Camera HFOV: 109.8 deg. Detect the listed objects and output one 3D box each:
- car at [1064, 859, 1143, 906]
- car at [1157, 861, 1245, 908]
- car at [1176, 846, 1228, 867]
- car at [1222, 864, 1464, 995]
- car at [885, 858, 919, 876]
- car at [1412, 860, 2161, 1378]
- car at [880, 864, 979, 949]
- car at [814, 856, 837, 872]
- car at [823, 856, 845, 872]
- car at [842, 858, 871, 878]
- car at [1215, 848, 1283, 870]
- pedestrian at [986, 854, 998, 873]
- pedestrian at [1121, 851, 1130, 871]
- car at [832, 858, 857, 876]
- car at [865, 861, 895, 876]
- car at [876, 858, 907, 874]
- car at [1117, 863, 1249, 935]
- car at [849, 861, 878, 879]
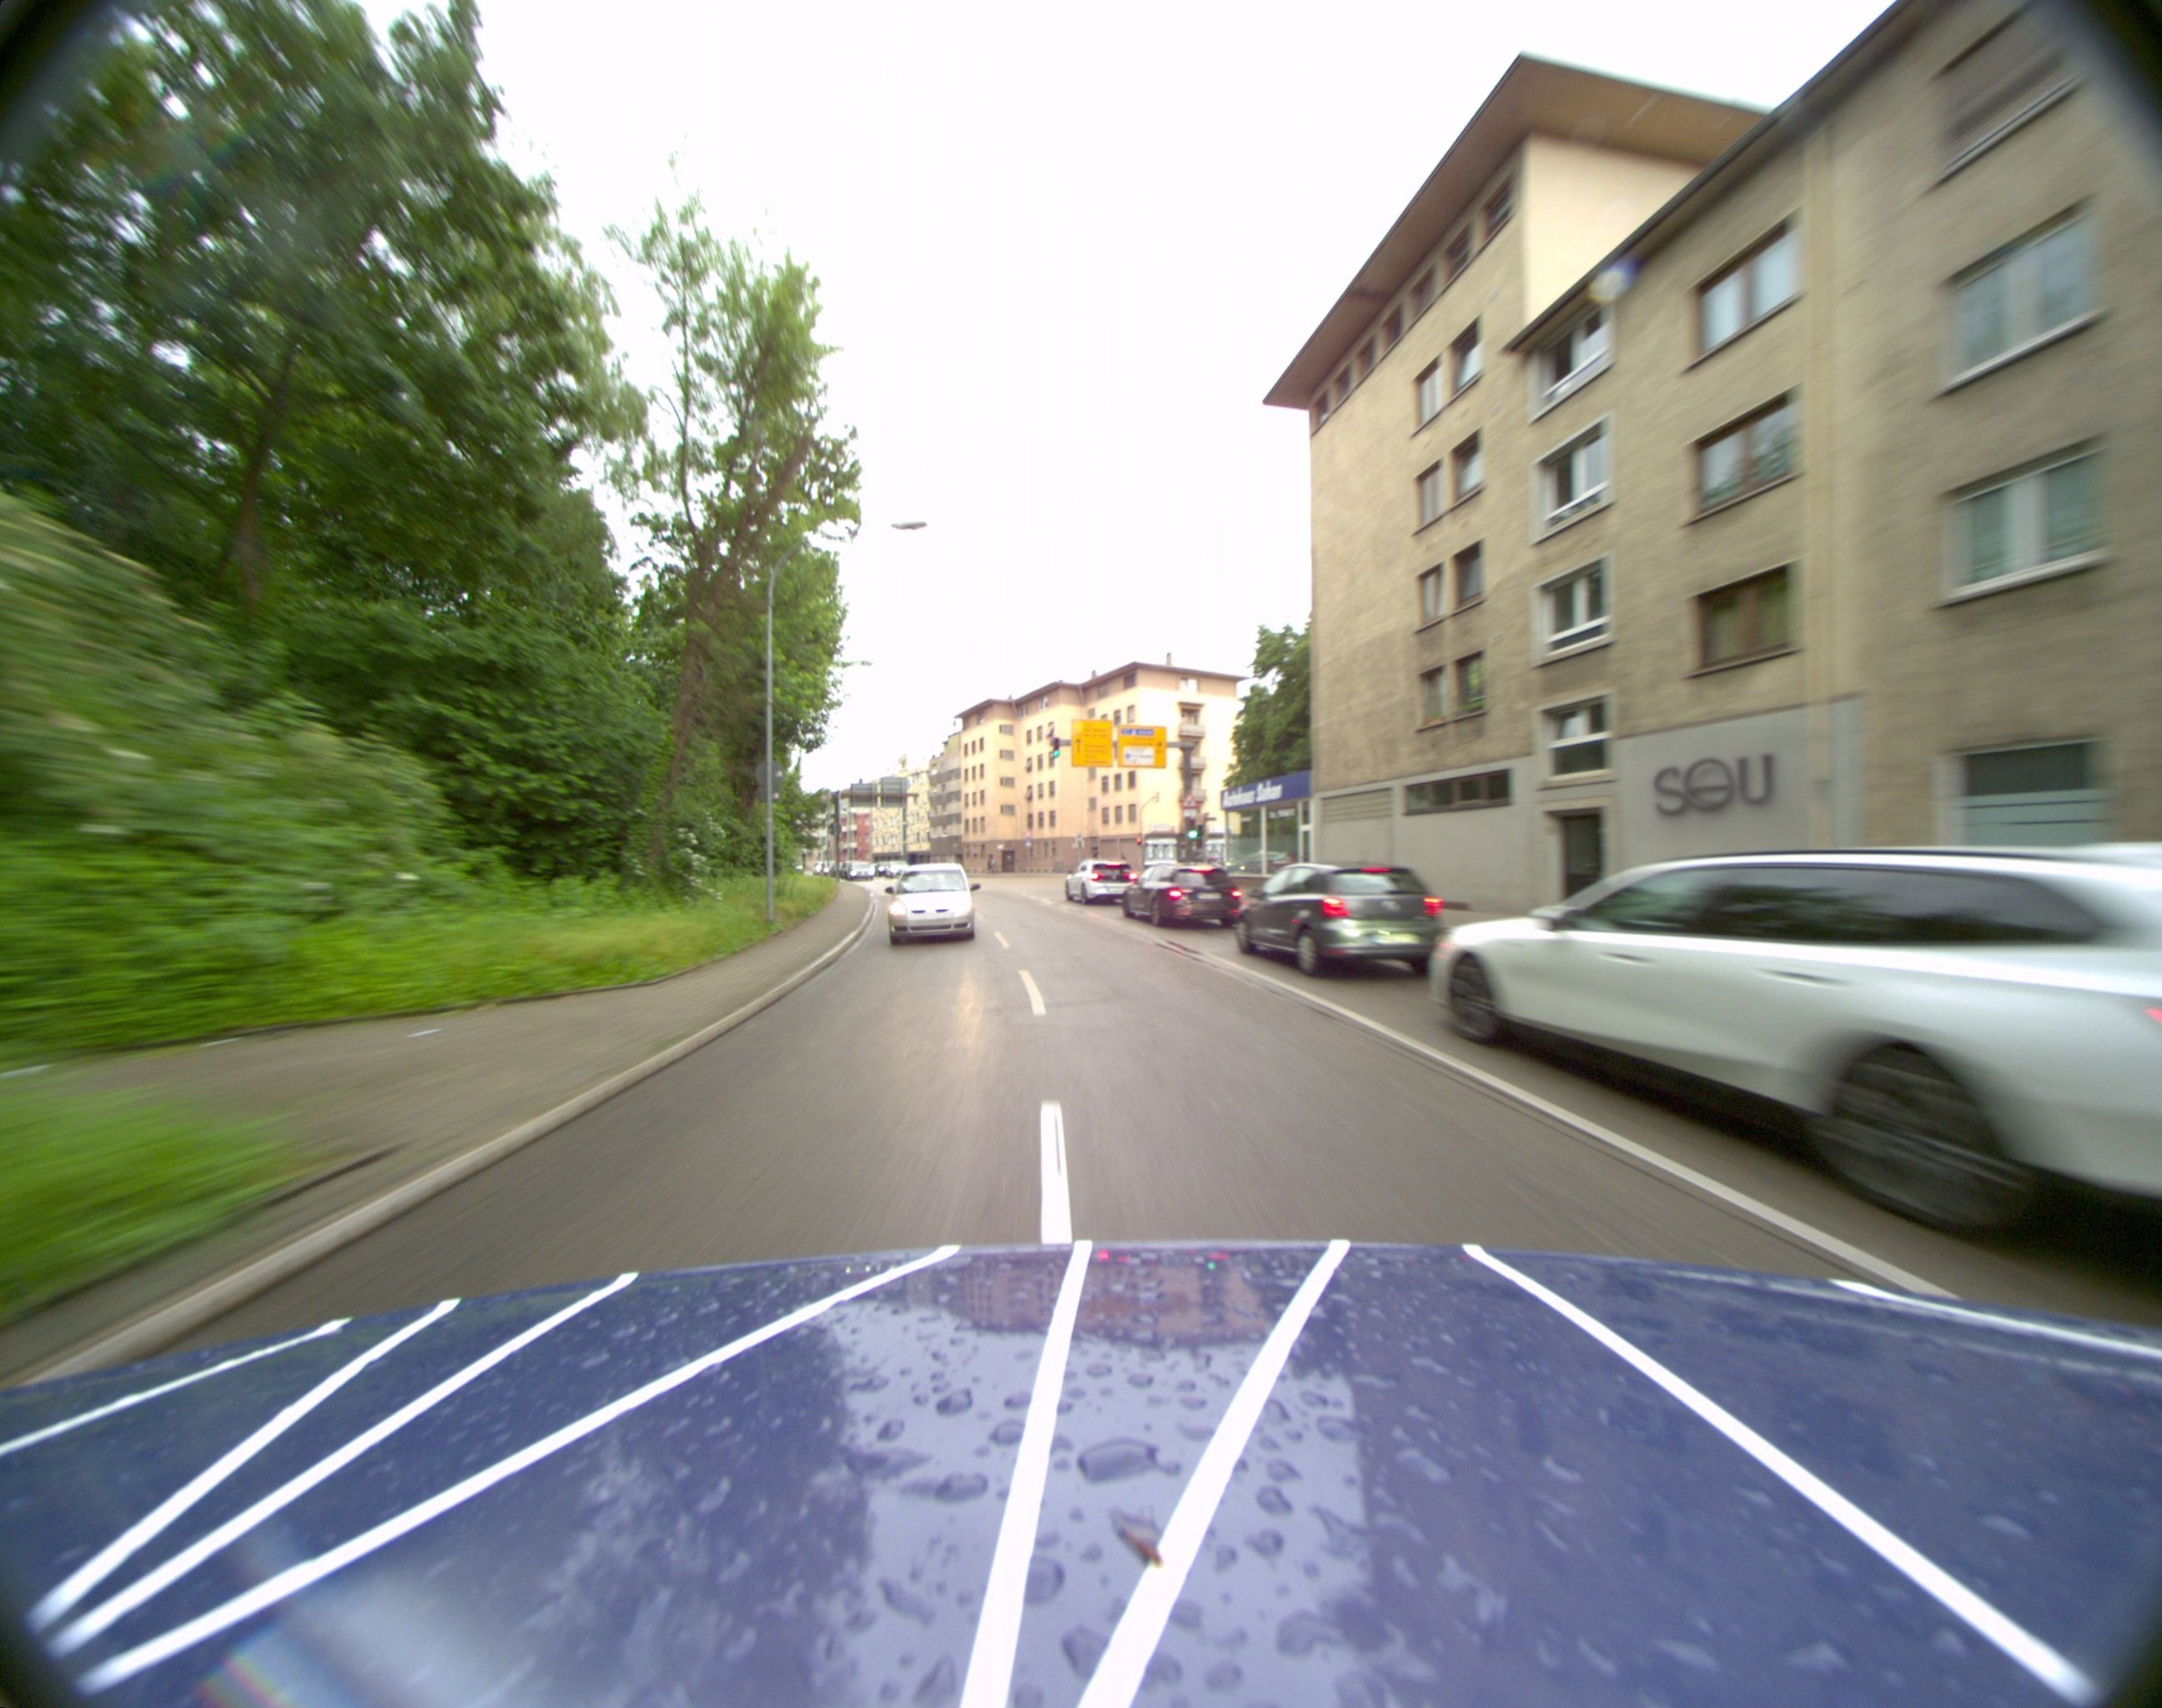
[{"bbox_3d":[0.686,0.921,26.438,1.791,1.487,4.211,0,0,-12],"label":"car"},{"bbox_3d":[4.037,1.001,26.205,1.664,1.447,3.995,0,0,-12],"label":"car"},{"bbox_3d":[10.252,0.181,64.639,1.763,1.638,4.270,-2,2,-37],"label":"car"},{"bbox_3d":[3.381,0.885,10.631,1.685,1.439,3.817,0,0,-7],"label":"car"},{"bbox_3d":[-15.941,1.144,67.460,1.882,1.469,4.544,-1,0,-27],"label":"car"},{"bbox_3d":[4.016,0.816,4.285,1.825,1.507,5.026,0,0,-4],"label":"car"},{"bbox_3d":[-3.129,1.010,16.389,1.753,1.510,3.997,-3,0,-7],"label":"car"},{"bbox_3d":[-29.565,1.175,87.837,1.913,1.701,4.886,-2,1,-26],"label":"car"},{"bbox_3d":[-26.417,1.070,81.211,1.684,1.646,3.991,-1,0,-27],"label":"car"},{"bbox_3d":[-20.170,1.217,68.155,2.002,1.607,4.611,-2,1,-23],"label":"car"},{"bbox_3d":[12.534,0.373,56.703,4.507,1.454,1.998,-2,1,-11],"label":"car"},{"bbox_3d":[-9.165,0.978,78.224,0.812,2.002,0.857,-2,0,-28],"label":"pedestrian"},{"bbox_3d":[3.730,0.579,63.826,0.582,1.629,0.618,-1,1,-6],"label":"pedestrian"},{"bbox_3d":[-23.517,1.275,75.420,1.684,1.646,3.991,-1,0,-27],"label":"car"},{"bbox_3d":[-20.793,1.435,78.476,2.003,1.469,4.610,-1,0,-27],"label":"car"},{"bbox_3d":[-18.176,1.108,72.679,1.923,1.469,4.610,-1,0,-26],"label":"car"},{"bbox_3d":[2.222,0.942,17.939,1.796,1.399,4.621,-1,0,-10],"label":"car"},{"bbox_3d":[-17.859,1.291,62.331,1.822,1.400,4.224,-2,1,-22],"label":"car"}]
